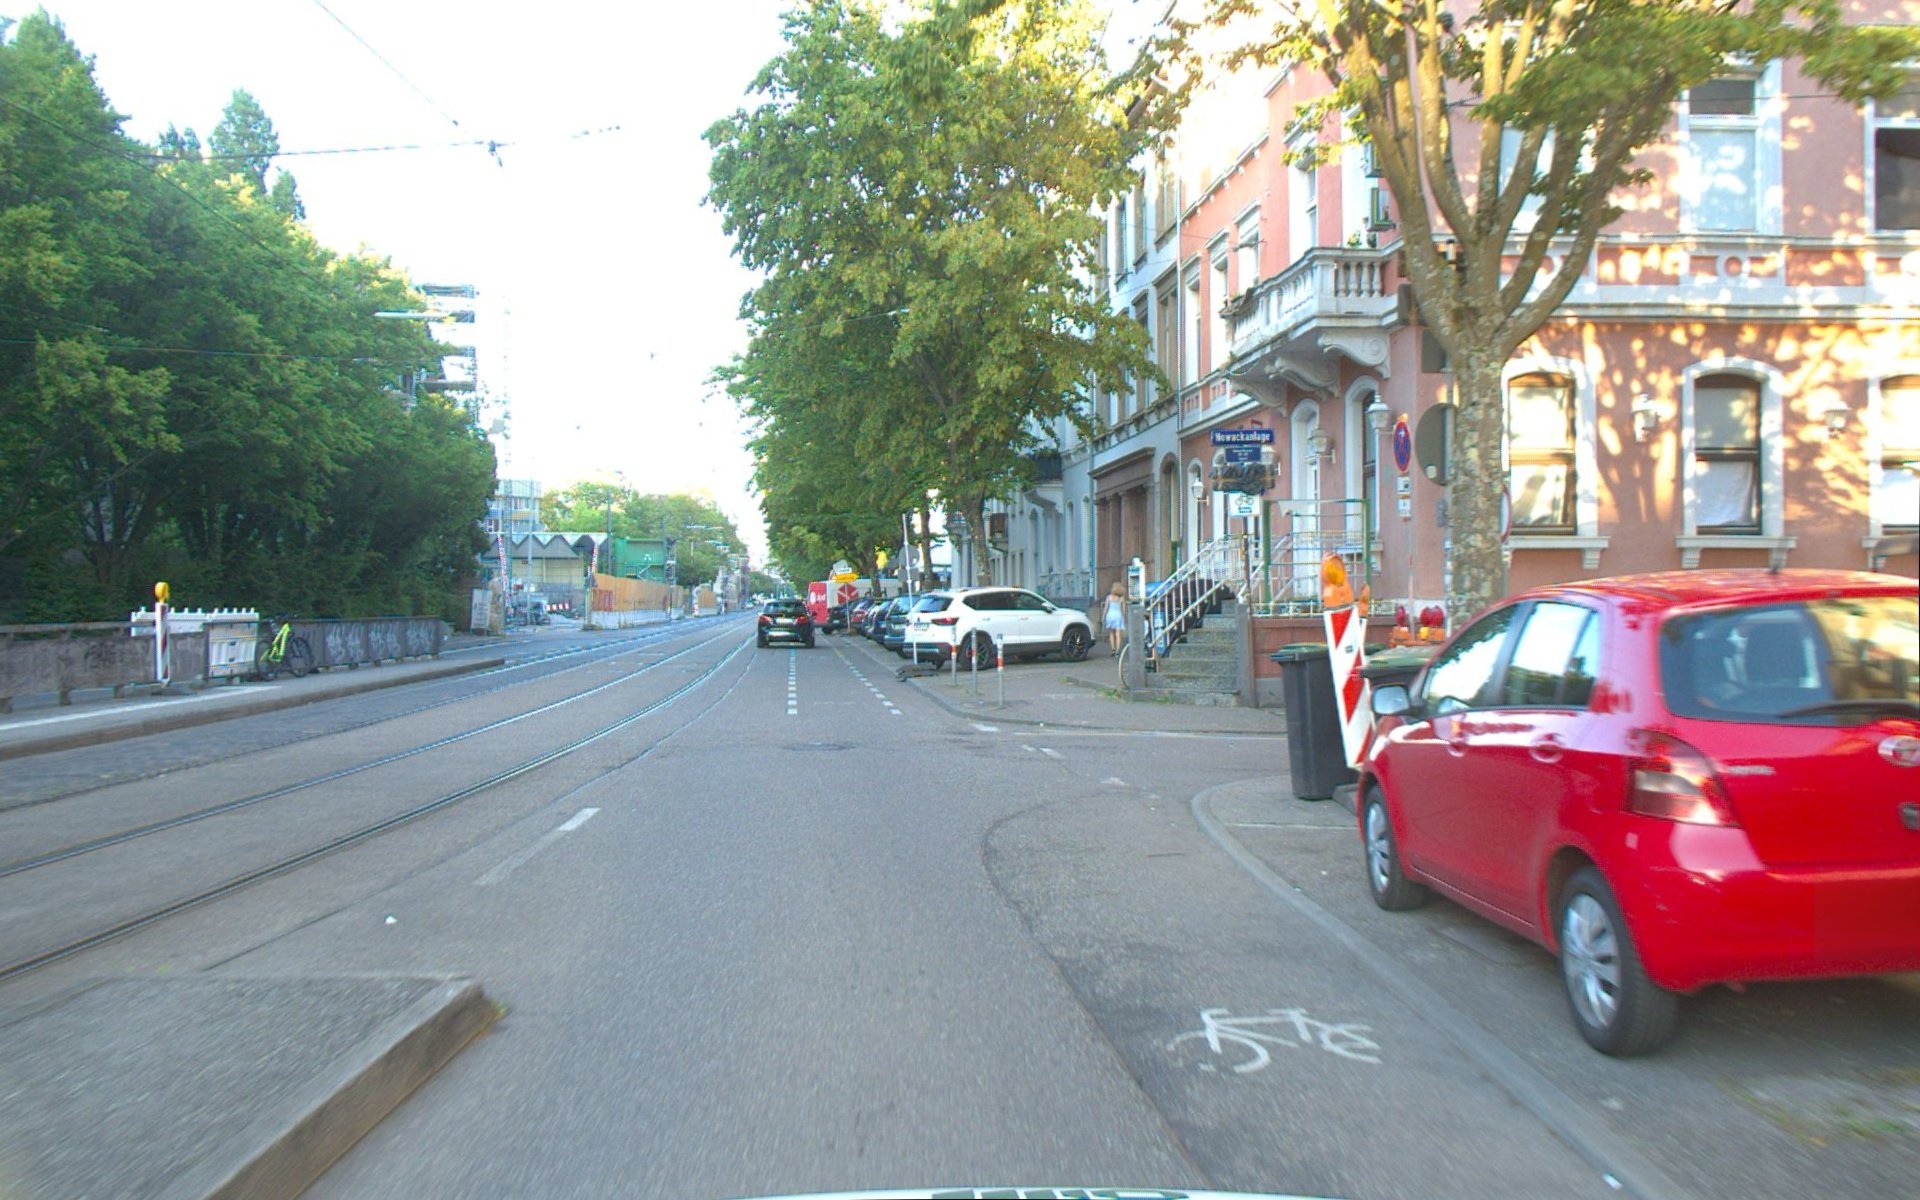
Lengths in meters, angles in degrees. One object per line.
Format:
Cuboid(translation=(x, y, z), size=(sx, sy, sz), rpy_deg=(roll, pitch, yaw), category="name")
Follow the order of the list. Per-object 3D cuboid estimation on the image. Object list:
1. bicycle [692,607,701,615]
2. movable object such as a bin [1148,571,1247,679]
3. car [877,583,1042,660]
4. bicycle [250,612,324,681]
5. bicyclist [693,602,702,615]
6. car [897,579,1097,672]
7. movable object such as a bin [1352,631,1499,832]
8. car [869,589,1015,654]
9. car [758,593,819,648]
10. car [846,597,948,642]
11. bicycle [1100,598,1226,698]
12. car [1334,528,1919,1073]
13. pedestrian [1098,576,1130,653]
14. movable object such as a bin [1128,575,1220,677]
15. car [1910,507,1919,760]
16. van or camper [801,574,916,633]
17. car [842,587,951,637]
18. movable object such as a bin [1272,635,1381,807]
Cuboid(translation=(-29.060, 1.166, 182.356), size=(0.930, 0.864, 2.691), rpy_deg=(-1, 0, -9), category="bicycle")
Cuboid(translation=(3.449, 0.348, 24.156), size=(1.118, 1.528, 1.397), rpy_deg=(0, 0, -7), category="movable object such as a bin")
Cuboid(translation=(0.017, 0.530, 41.765), size=(3.924, 1.697, 1.871), rpy_deg=(-3, 0, -43), category="car")
Cuboid(translation=(-11.191, 0.755, 27.544), size=(0.453, 1.094, 2.021), rpy_deg=(-1, 0, -2), category="bicycle")
Cuboid(translation=(-28.812, 0.895, 181.579), size=(0.927, 1.369, 1.109), rpy_deg=(-1, -1, -9), category="bicyclist")
Cuboid(translation=(0.791, 0.479, 34.004), size=(3.913, 1.655, 1.652), rpy_deg=(-3, 2, -37), category="car")
Cuboid(translation=(2.890, 0.786, 10.265), size=(0.702, 1.174, 0.621), rpy_deg=(0, 0, 37), category="movable object such as a bin")
Cuboid(translation=(-0.498, 0.606, 47.894), size=(3.915, 1.631, 1.815), rpy_deg=(-3, 0, -38), category="car")
Cuboid(translation=(-5.612, 0.652, 54.065), size=(1.846, 1.648, 3.994), rpy_deg=(2, 0, -6), category="car")
Cuboid(translation=(-2.677, 0.824, 70.531), size=(3.906, 1.631, 1.820), rpy_deg=(-4, 1, -33), category="car")
Cuboid(translation=(2.783, 0.629, 22.548), size=(1.901, 1.288, 0.592), rpy_deg=(-1, 0, -41), category="bicycle")
Cuboid(translation=(2.759, 0.566, 6.706), size=(1.533, 1.563, 3.692), rpy_deg=(-2, 0, -1), category="car")
Cuboid(translation=(3.344, 0.312, 35.896), size=(0.575, 1.637, 0.624), rpy_deg=(0, 0, -6), category="pedestrian")
Cuboid(translation=(3.292, 0.385, 25.606), size=(1.118, 1.528, 1.397), rpy_deg=(0, 0, -7), category="movable object such as a bin")
Cuboid(translation=(2.792, 0.620, 1.147), size=(1.709, 1.660, 4.086), rpy_deg=(-2, 0, -3), category="car")
Cuboid(translation=(-5.017, 0.166, 82.210), size=(5.501, 2.574, 2.055), rpy_deg=(-4, 0, -41), category="van or camper")
Cuboid(translation=(-2.473, 0.459, 64.945), size=(3.916, 1.631, 1.815), rpy_deg=(-5, 0, -38), category="car")
Cuboid(translation=(2.597, 0.843, 11.765), size=(0.697, 1.174, 0.588), rpy_deg=(0, 0, 6), category="movable object such as a bin")
